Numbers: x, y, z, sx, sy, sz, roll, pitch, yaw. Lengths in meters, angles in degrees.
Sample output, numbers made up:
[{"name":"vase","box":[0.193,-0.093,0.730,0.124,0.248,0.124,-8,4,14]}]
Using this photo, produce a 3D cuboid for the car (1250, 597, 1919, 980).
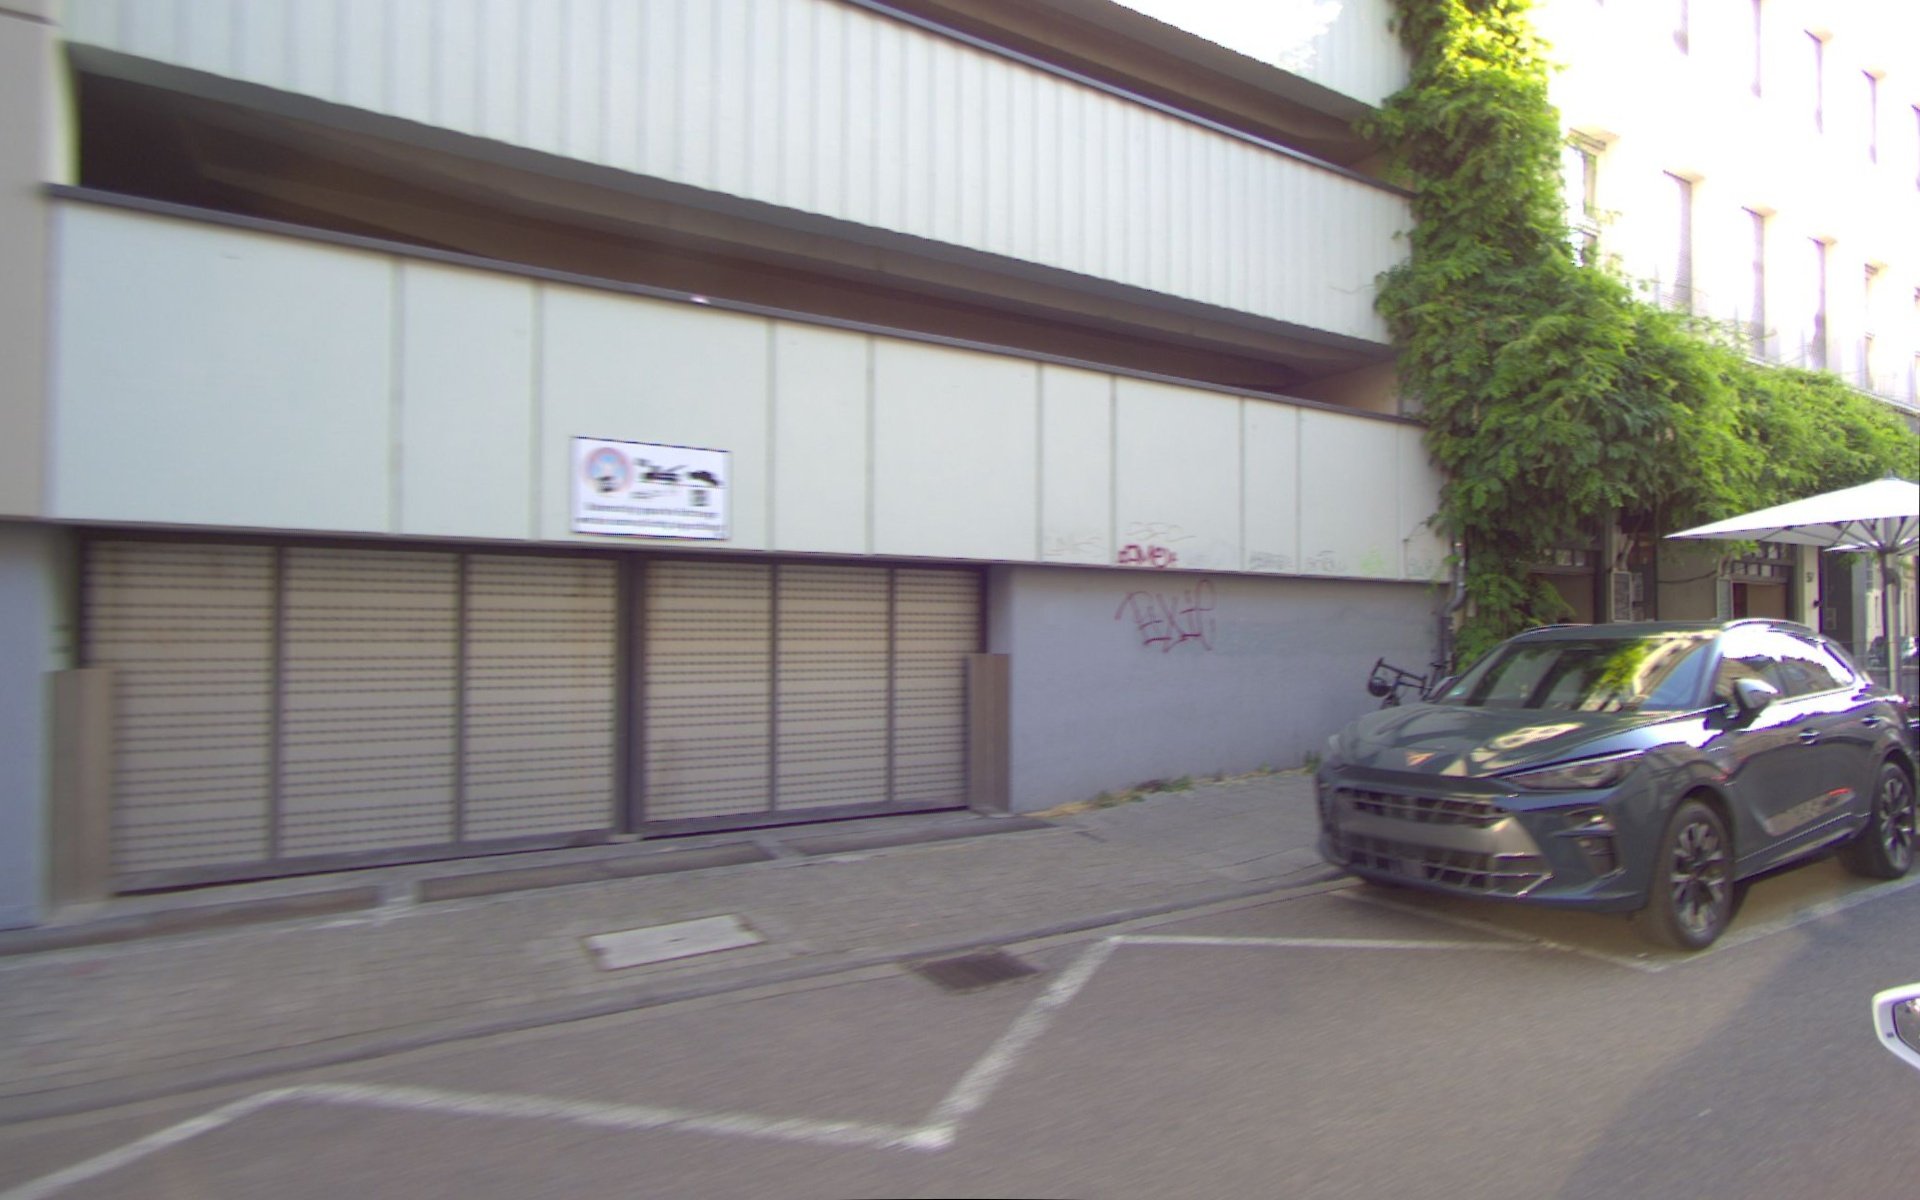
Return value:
[{"name":"car","box":[4.174,0.882,6.262,4.718,1.588,1.871,1,-4,-32]}]

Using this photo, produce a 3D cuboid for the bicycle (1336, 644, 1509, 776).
[{"name":"bicycle","box":[4.570,1.038,9.891,1.772,1.175,0.640,1,-1,-29]}]

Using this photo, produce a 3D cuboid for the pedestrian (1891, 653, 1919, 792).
[{"name":"pedestrian","box":[8.532,1.045,8.520,0.726,1.181,0.554,0,-2,2]}]
